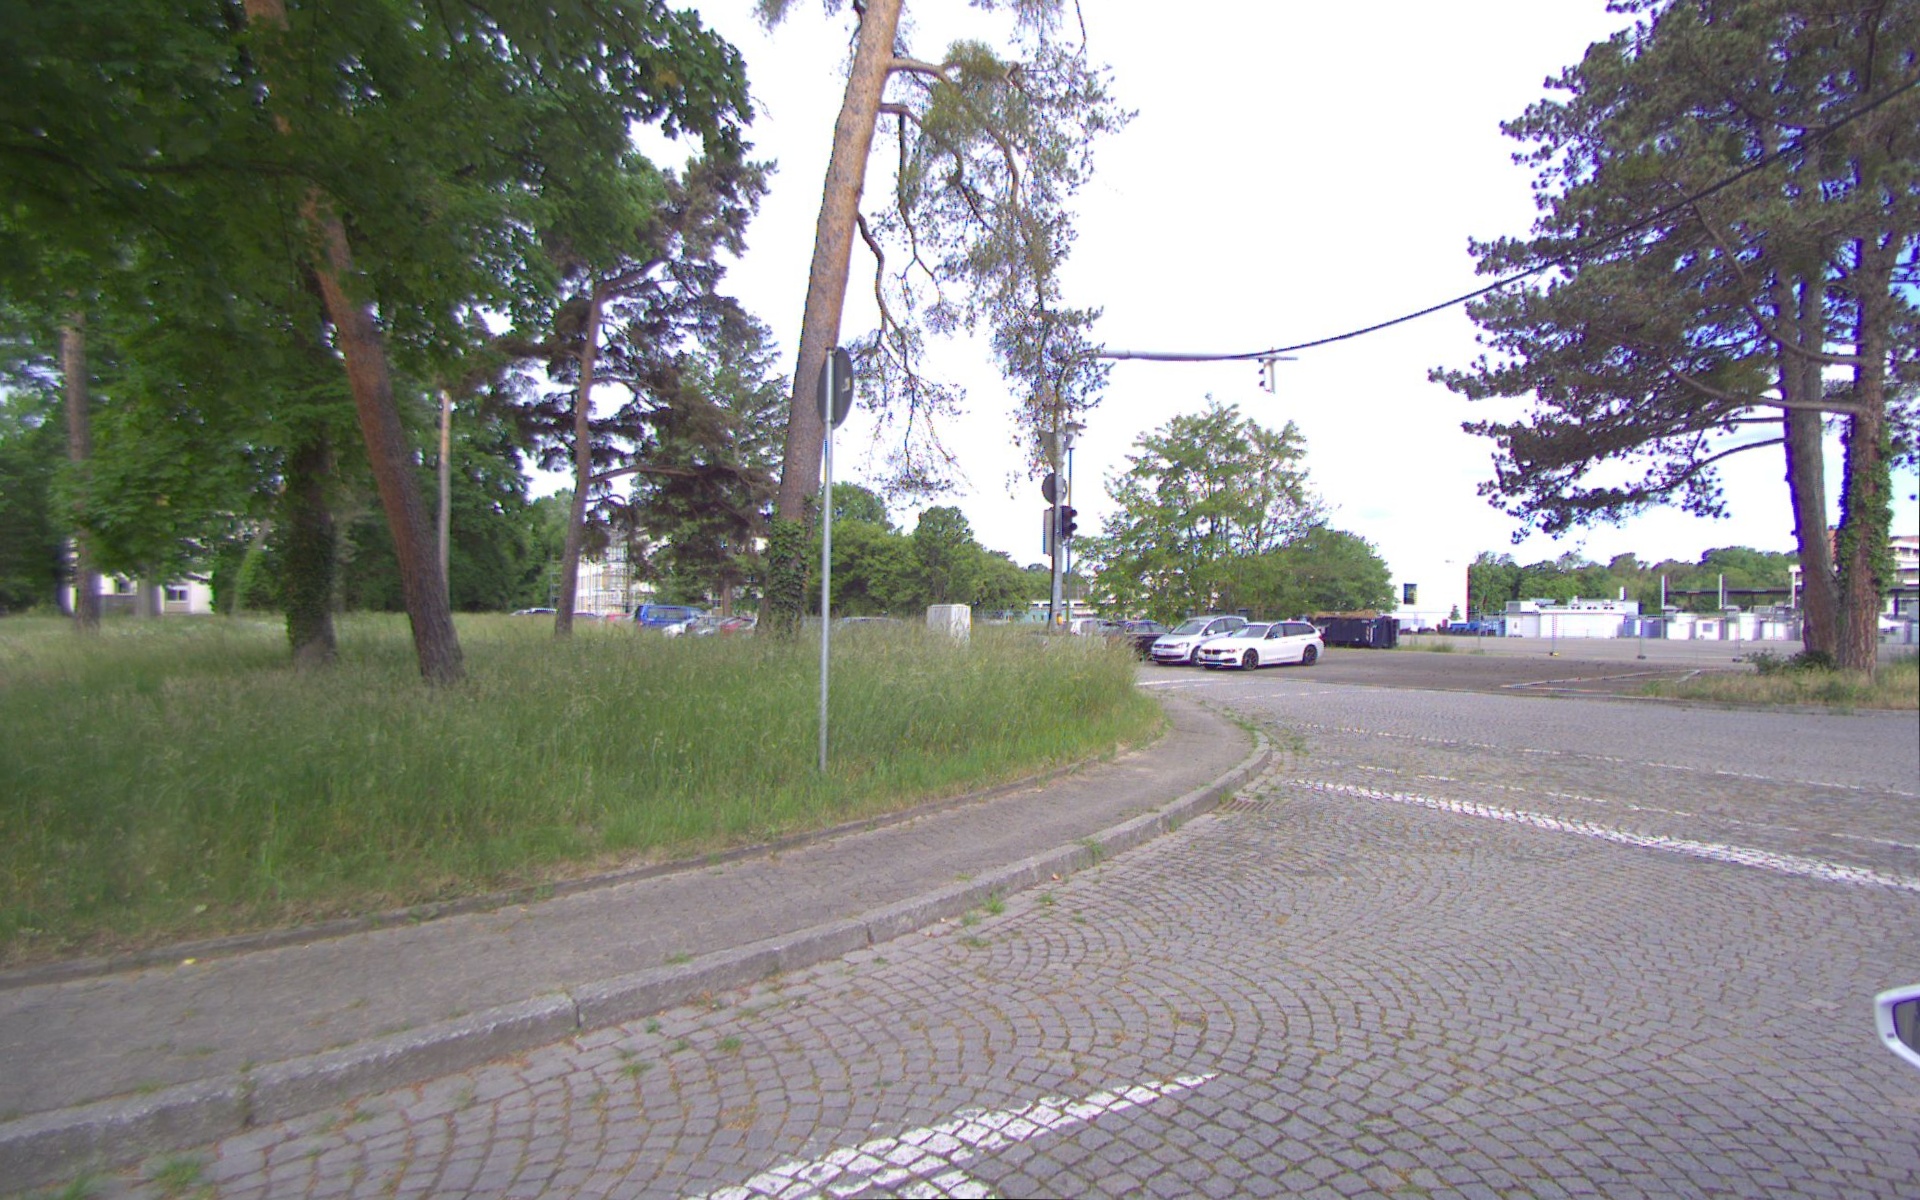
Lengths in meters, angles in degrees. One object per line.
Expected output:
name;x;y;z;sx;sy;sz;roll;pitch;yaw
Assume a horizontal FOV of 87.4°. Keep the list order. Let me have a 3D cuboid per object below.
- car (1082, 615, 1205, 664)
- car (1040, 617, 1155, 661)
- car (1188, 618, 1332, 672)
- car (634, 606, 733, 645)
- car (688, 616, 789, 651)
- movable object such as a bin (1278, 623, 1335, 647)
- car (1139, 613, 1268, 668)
car;6.629;1.373;36.212;4.280;1.522;1.844;-2;1;-34
car;5.298;1.472;38.531;4.280;1.587;1.782;1;-1;-34
car;9.556;1.377;31.860;4.688;1.461;1.799;-1;0;-33
car;-14.607;1.314;53.042;4.736;2.007;1.982;0;-1;-30
car;-9.537;1.448;43.349;3.951;1.457;1.678;1;-1;-29
movable object such as a bin;15.861;1.584;45.927;2.632;1.062;1.170;1;-1;-35
car;8.264;1.312;33.986;4.280;1.605;1.811;-2;1;-34
